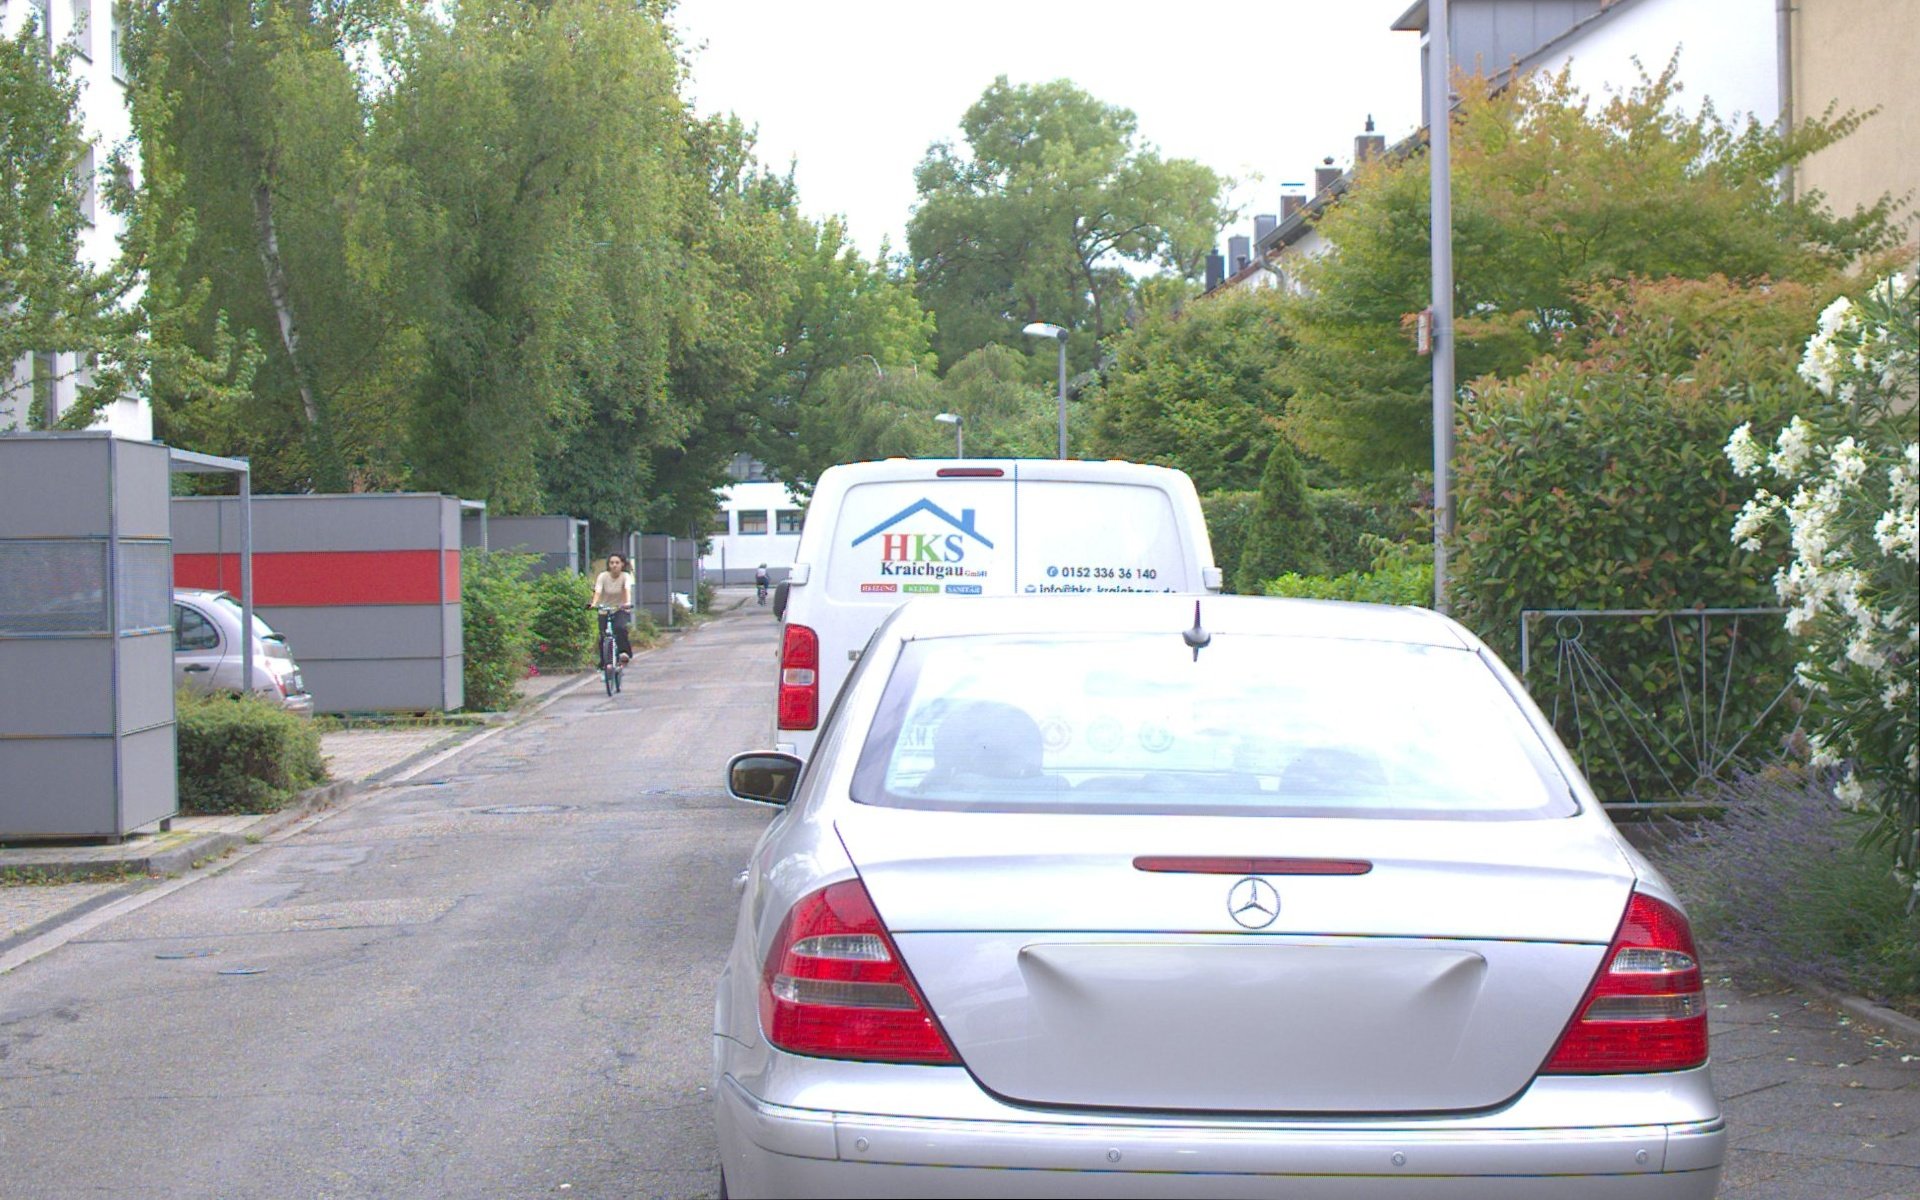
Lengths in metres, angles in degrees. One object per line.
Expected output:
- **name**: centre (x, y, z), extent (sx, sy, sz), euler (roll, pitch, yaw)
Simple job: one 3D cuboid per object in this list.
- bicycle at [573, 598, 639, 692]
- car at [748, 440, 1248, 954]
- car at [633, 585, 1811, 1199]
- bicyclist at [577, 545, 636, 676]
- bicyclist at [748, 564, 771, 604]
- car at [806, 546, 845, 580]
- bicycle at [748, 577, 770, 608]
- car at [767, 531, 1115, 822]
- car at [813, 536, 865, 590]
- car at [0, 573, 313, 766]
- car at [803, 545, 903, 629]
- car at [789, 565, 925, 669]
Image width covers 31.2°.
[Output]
- **bicycle**: centre (-4.325, 0.537, 42.102), extent (0.597, 1.072, 2.042), euler (-2, 1, -1)
- **car**: centre (0.017, 0.342, 15.809), extent (1.903, 1.958, 5.254), euler (0, 1, -3)
- **car**: centre (0.371, 0.702, 7.454), extent (1.783, 1.416, 4.456), euler (0, 1, -1)
- **bicyclist**: centre (-4.345, 0.118, 42.246), extent (0.597, 1.575, 0.767), euler (-2, 1, -1)
- **bicyclist**: centre (-7.557, -0.608, 129.441), extent (0.798, 1.506, 0.934), euler (1, 0, 0)
- **car**: centre (-6.442, -1.791, 165.362), extent (1.825, 1.576, 4.000), euler (1, 1, -2)
- **bicycle**: centre (-7.557, -0.286, 129.427), extent (0.689, 1.127, 2.579), euler (1, 1, 0)
- **car**: centre (-0.219, 0.408, 21.486), extent (1.824, 1.630, 4.163), euler (0, 1, -5)
- **car**: centre (-4.372, -1.352, 124.401), extent (1.825, 1.877, 4.000), euler (1, 1, -2)
- **car**: centre (-7.327, 0.580, 28.842), extent (3.561, 1.475, 1.711), euler (-2, 1, -6)
- **car**: centre (-2.145, -0.283, 67.903), extent (1.825, 1.576, 4.001), euler (1, 1, -4)
- **car**: centre (-1.463, 0.208, 48.987), extent (1.825, 1.365, 4.331), euler (1, 1, -2)
